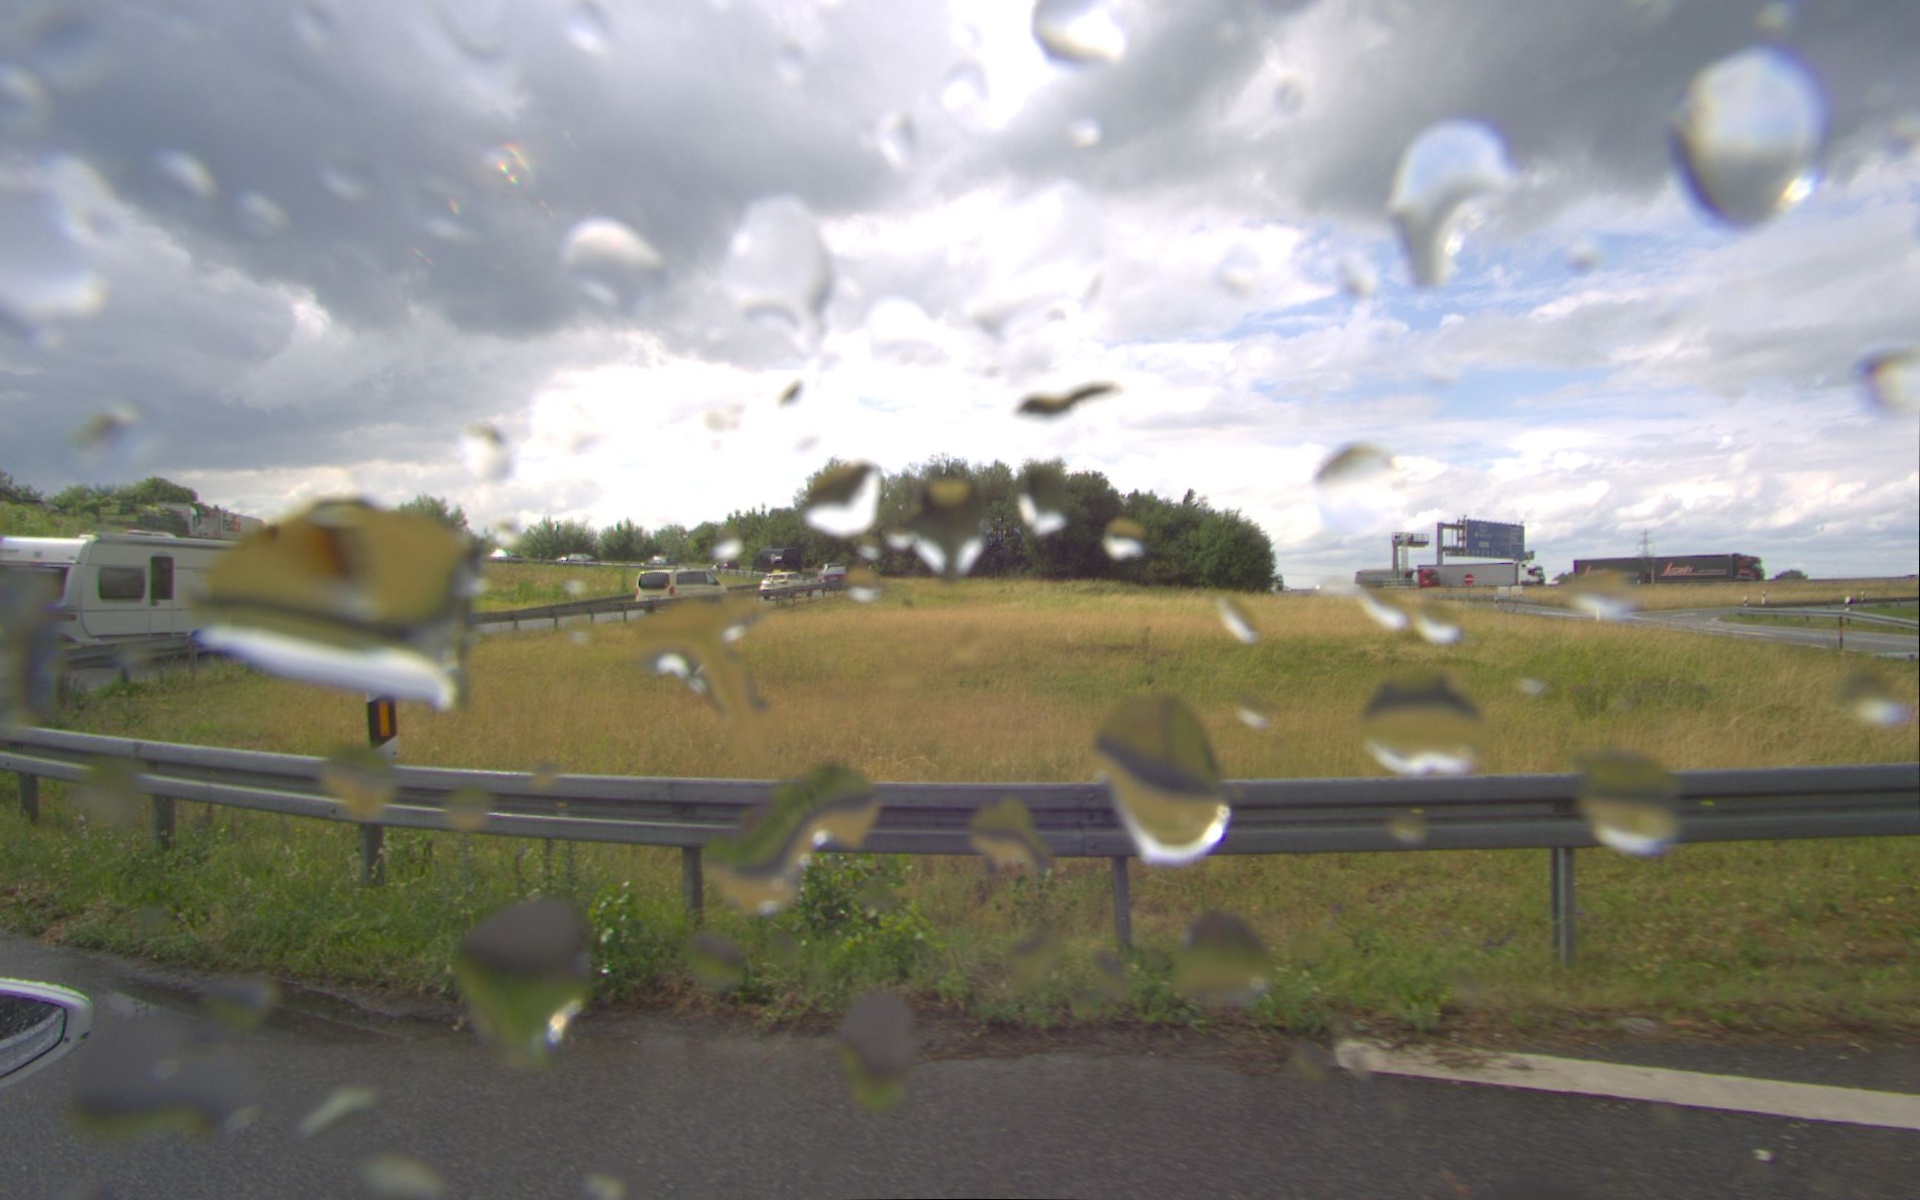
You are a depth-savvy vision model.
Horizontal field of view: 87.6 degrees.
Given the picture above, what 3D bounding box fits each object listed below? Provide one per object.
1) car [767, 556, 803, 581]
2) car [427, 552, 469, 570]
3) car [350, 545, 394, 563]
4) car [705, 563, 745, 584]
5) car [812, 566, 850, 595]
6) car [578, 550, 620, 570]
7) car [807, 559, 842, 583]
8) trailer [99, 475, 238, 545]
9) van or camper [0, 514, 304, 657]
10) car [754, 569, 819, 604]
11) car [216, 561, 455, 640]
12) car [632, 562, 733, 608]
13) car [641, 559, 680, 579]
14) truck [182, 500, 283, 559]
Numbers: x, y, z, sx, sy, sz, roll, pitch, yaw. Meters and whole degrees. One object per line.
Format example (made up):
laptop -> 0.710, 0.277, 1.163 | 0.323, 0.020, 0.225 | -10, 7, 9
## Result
car -> -15.970, -2.815, 91.485 | 1.972, 2.039, 3.979 | 1, -1, -31
car -> -59.798, -4.526, 116.922 | 3.923, 2.040, 1.999 | 0, 0, 7
car -> -68.821, -5.372, 117.279 | 3.924, 2.040, 1.998 | 0, 0, -9
car -> -23.568, -2.654, 100.401 | 3.955, 2.041, 1.983 | 1, 1, 43
car -> -8.600, -1.262, 67.128 | 1.961, 1.886, 5.056 | 0, 1, -1
car -> -39.435, -4.318, 109.275 | 3.930, 2.040, 1.997 | 0, -1, 20
car -> -11.072, -2.328, 81.675 | 1.638, 1.808, 5.041 | 0, 1, -21
trailer -> -70.361, -7.748, 89.940 | 4.355, 4.006, 20.158 | 1, -1, -22
van or camper -> -18.349, -0.342, 22.832 | 2.391, 2.766, 5.998 | 2, 1, 6
car -> -9.821, -0.757, 57.044 | 1.962, 1.886, 5.052 | 0, 1, 11
car -> -17.437, -0.016, 28.437 | 2.390, 1.951, 5.753 | 2, 1, 13
car -> -12.115, -0.654, 44.104 | 1.963, 1.886, 5.050 | 0, 1, 15
car -> -31.973, -3.323, 106.755 | 3.944, 2.041, 1.988 | 2, 2, 34
truck -> -77.888, -7.298, 107.907 | 4.402, 4.561, 19.318 | 1, -1, -22
